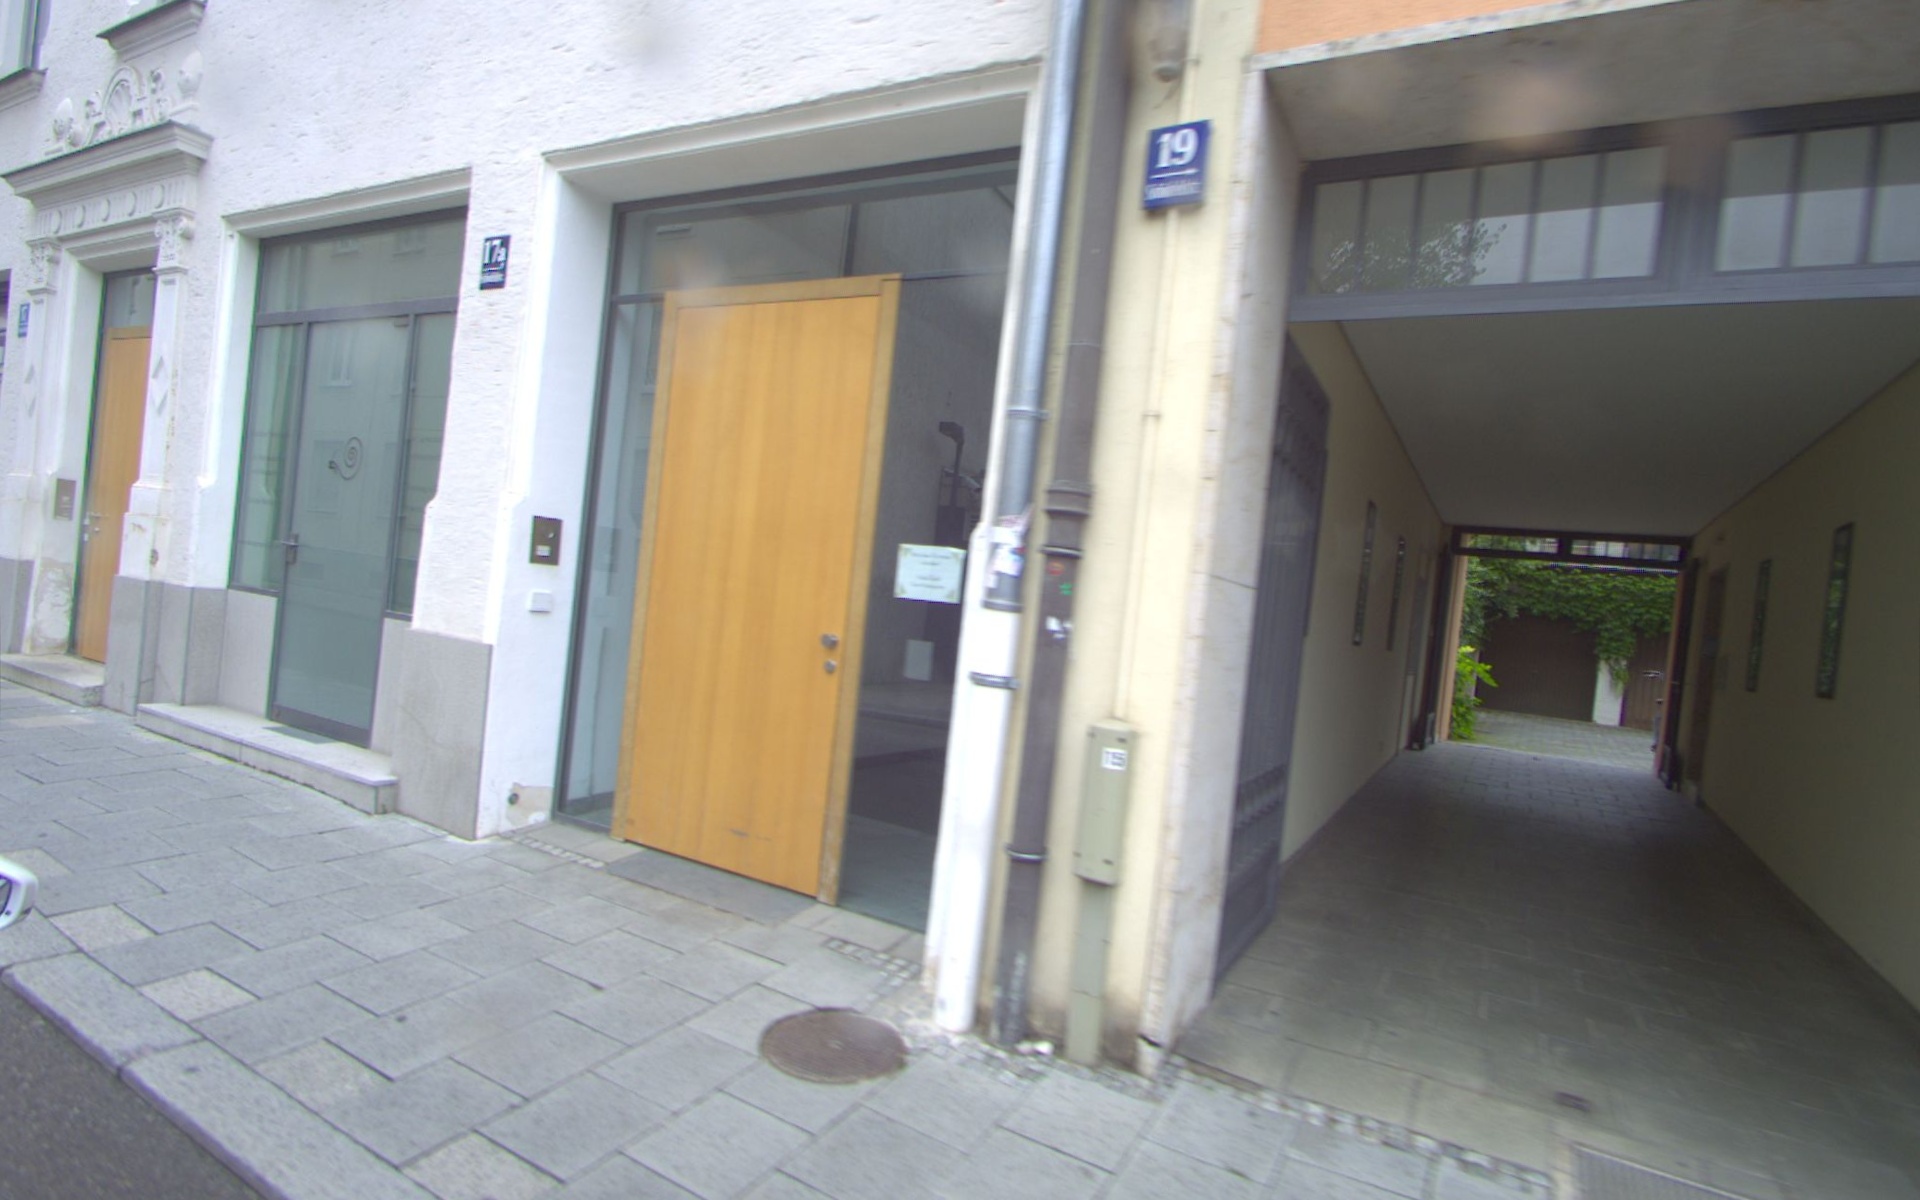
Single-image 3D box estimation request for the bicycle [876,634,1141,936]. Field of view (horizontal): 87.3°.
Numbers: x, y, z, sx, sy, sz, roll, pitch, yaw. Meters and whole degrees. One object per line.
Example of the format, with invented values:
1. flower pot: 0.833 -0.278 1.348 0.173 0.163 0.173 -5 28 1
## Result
1. bicycle: 0.327 0.786 5.026 0.744 1.046 1.771 6 4 20
